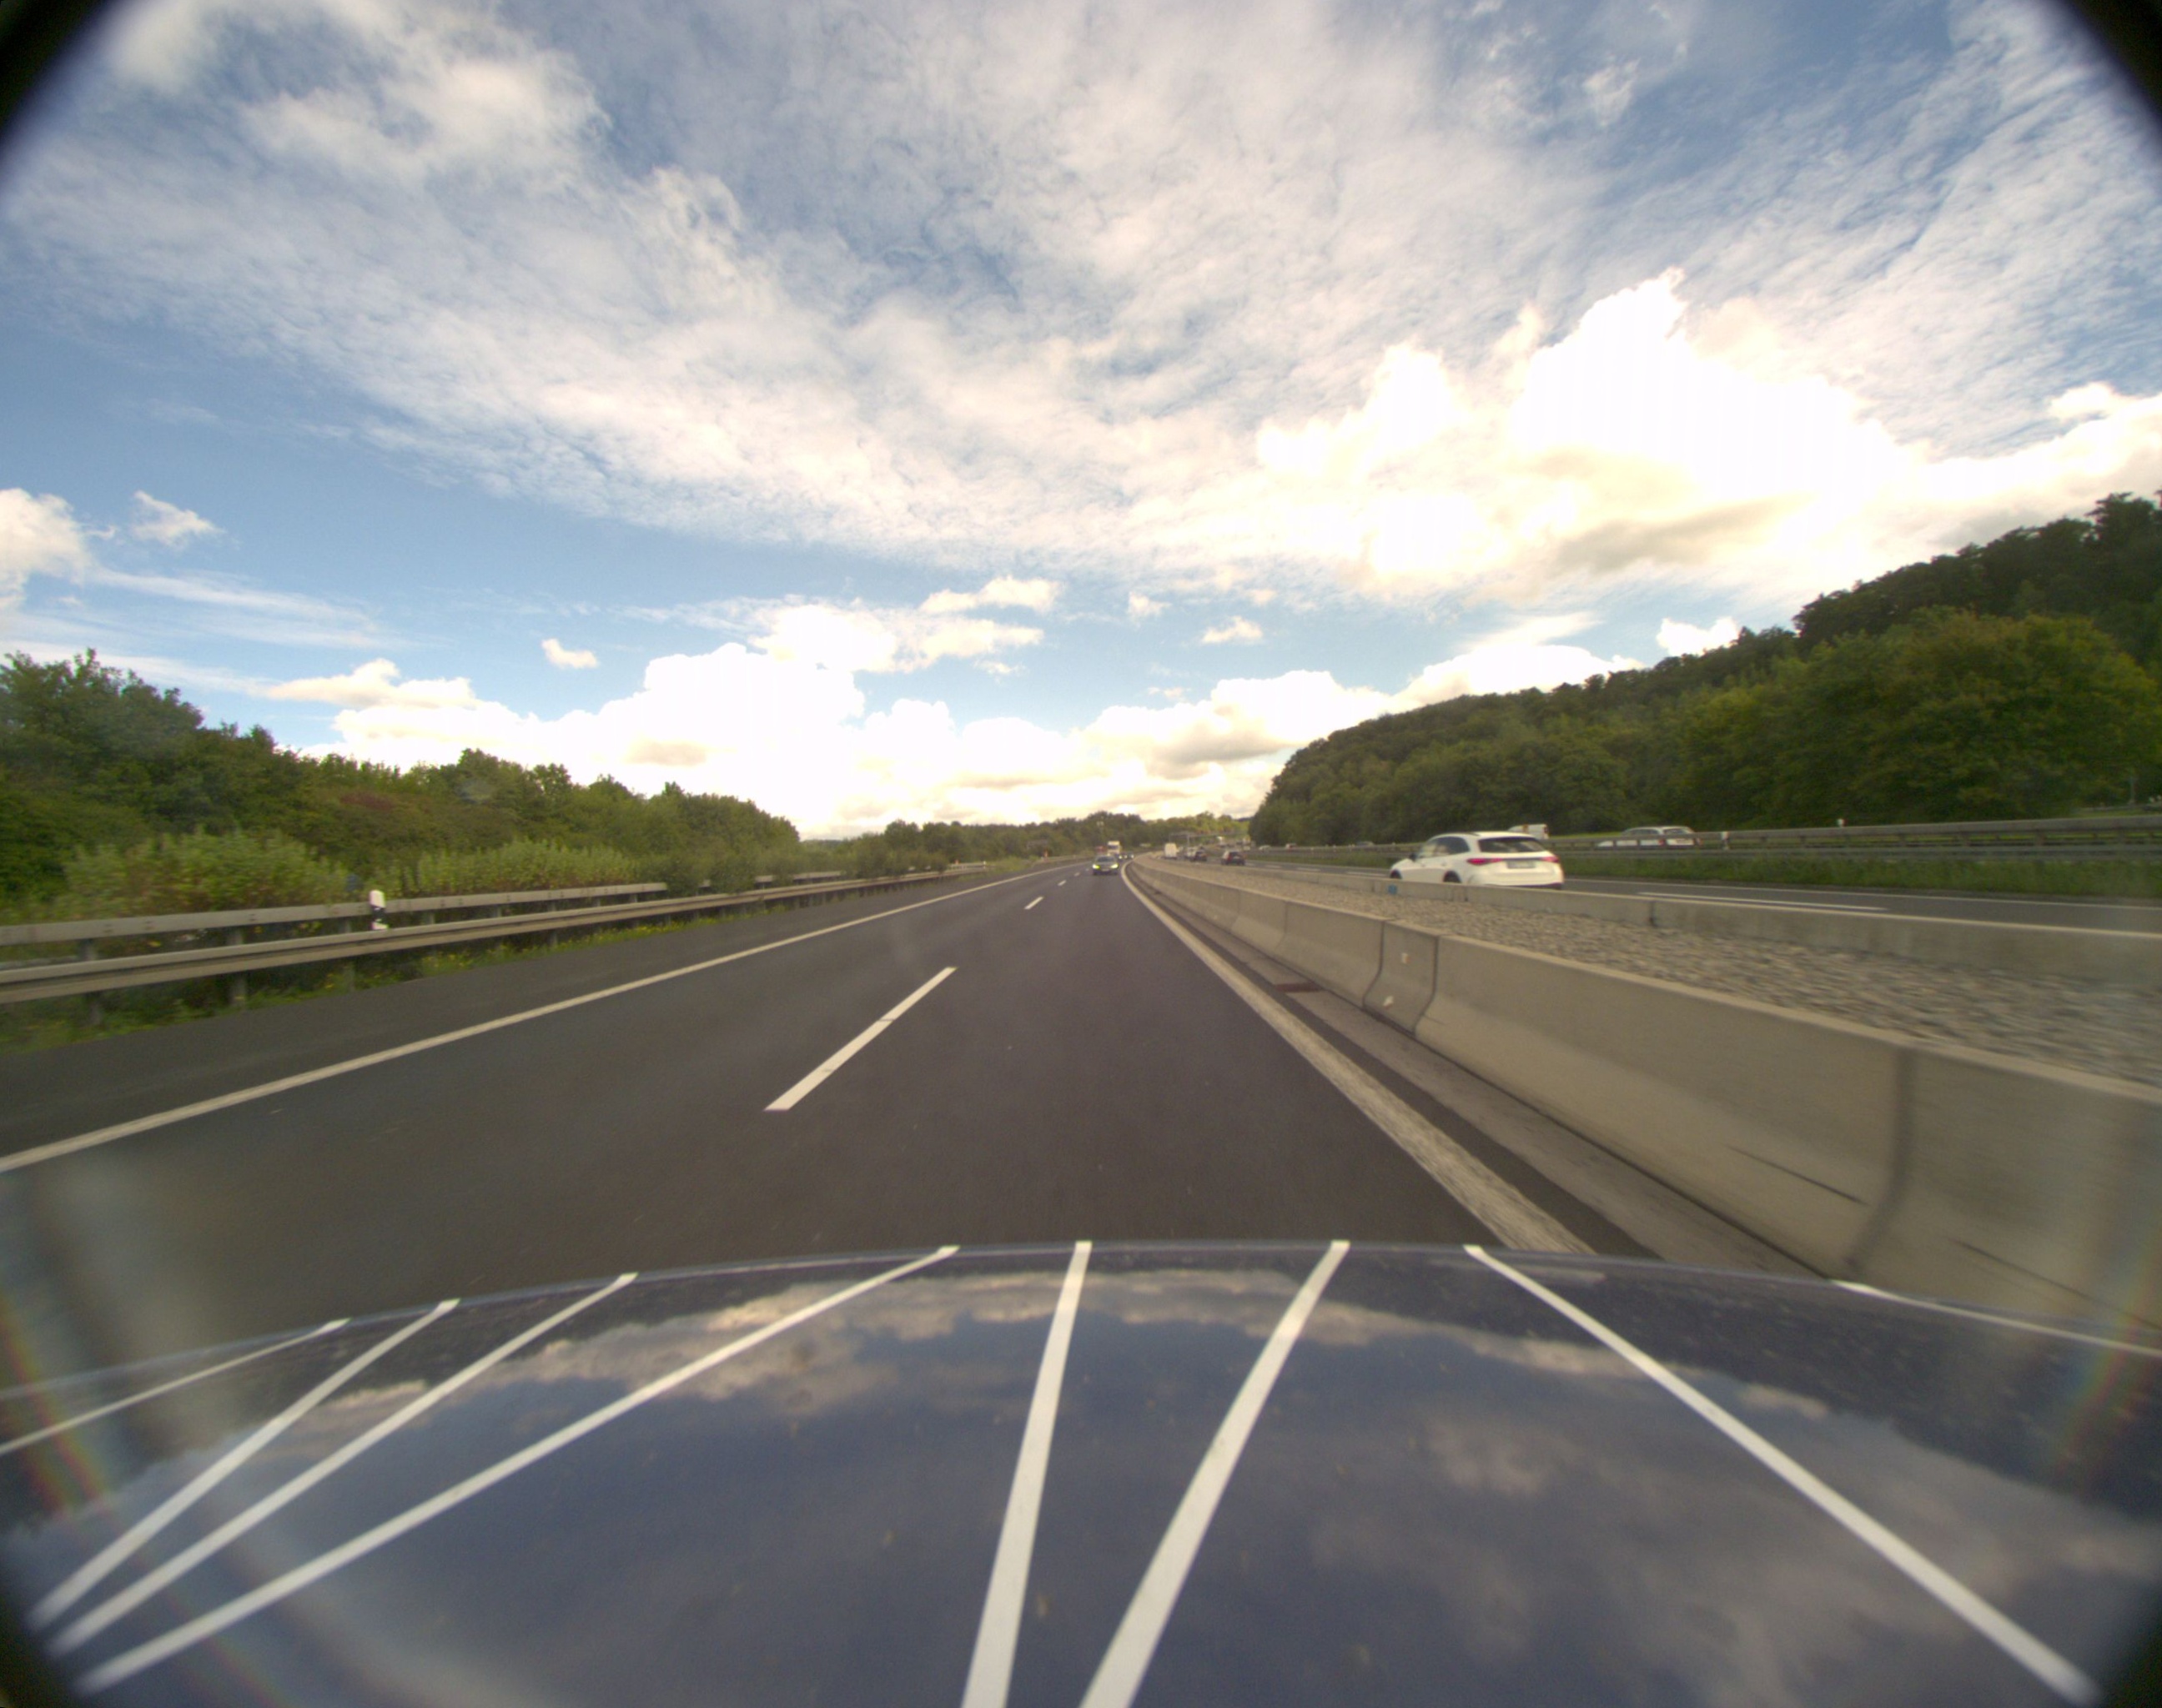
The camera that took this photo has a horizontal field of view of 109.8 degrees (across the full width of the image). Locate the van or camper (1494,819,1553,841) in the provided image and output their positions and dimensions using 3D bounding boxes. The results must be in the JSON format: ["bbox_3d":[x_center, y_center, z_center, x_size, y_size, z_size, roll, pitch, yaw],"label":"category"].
[{"bbox_3d":[52.576,-2.849,90.324,5.717,2.236,2.110,-3,1,41],"label":"van or camper"}]

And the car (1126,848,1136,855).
[{"bbox_3d":[10.937,-0.582,165.450,1.998,1.464,4.001,-2,1,5],"label":"car"}]

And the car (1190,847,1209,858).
[{"bbox_3d":[16.540,-0.193,105.998,1.888,1.413,5.236,-1,1,1],"label":"car"}]

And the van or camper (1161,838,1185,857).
[{"bbox_3d":[15.397,-1.071,127.717,3.343,2.900,7.467,-3,0,3],"label":"van or camper"}]

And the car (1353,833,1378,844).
[{"bbox_3d":[40.585,-2.168,108.566,1.730,1.442,4.303,-3,0,-3],"label":"car"}]

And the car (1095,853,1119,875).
[{"bbox_3d":[1.996,0.711,57.717,1.662,1.464,3.999,-3,1,2],"label":"car"}]

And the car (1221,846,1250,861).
[{"bbox_3d":[14.945,-0.054,73.546,1.789,1.409,4.996,-2,0,0],"label":"car"}]

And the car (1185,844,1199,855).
[{"bbox_3d":[19.838,-0.863,135.921,1.918,1.895,5.287,-1,1,3],"label":"car"}]

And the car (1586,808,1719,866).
[{"bbox_3d":[24.705,-0.699,33.155,1.998,2.220,5.147,-2,0,2],"label":"car"}]

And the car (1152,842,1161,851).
[{"bbox_3d":[18.156,-1.782,181.877,1.998,1.909,5.150,-3,0,5],"label":"car"}]

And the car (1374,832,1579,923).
[{"bbox_3d":[8.292,0.408,16.596,1.847,1.601,5.135,-2,1,1],"label":"car"}]

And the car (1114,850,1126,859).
[{"bbox_3d":[6.781,0.093,132.478,1.998,1.464,4.001,-2,0,4],"label":"car"}]

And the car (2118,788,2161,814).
[{"bbox_3d":[69.985,-3.496,49.555,1.716,1.576,4.008,-2,1,38],"label":"car"}]

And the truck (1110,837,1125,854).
[{"bbox_3d":[8.536,-2.006,178.337,2.795,3.563,11.459,-2,2,6],"label":"truck"}]

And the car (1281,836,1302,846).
[{"bbox_3d":[38.317,-2.316,138.258,2.399,1.761,5.244,-3,0,2],"label":"car"}]

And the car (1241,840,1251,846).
[{"bbox_3d":[44.084,-3.018,202.692,1.787,1.423,4.625,-2,0,2],"label":"car"}]

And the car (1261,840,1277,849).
[{"bbox_3d":[30.617,-1.538,123.682,1.642,1.312,3.757,-3,0,2],"label":"car"}]
